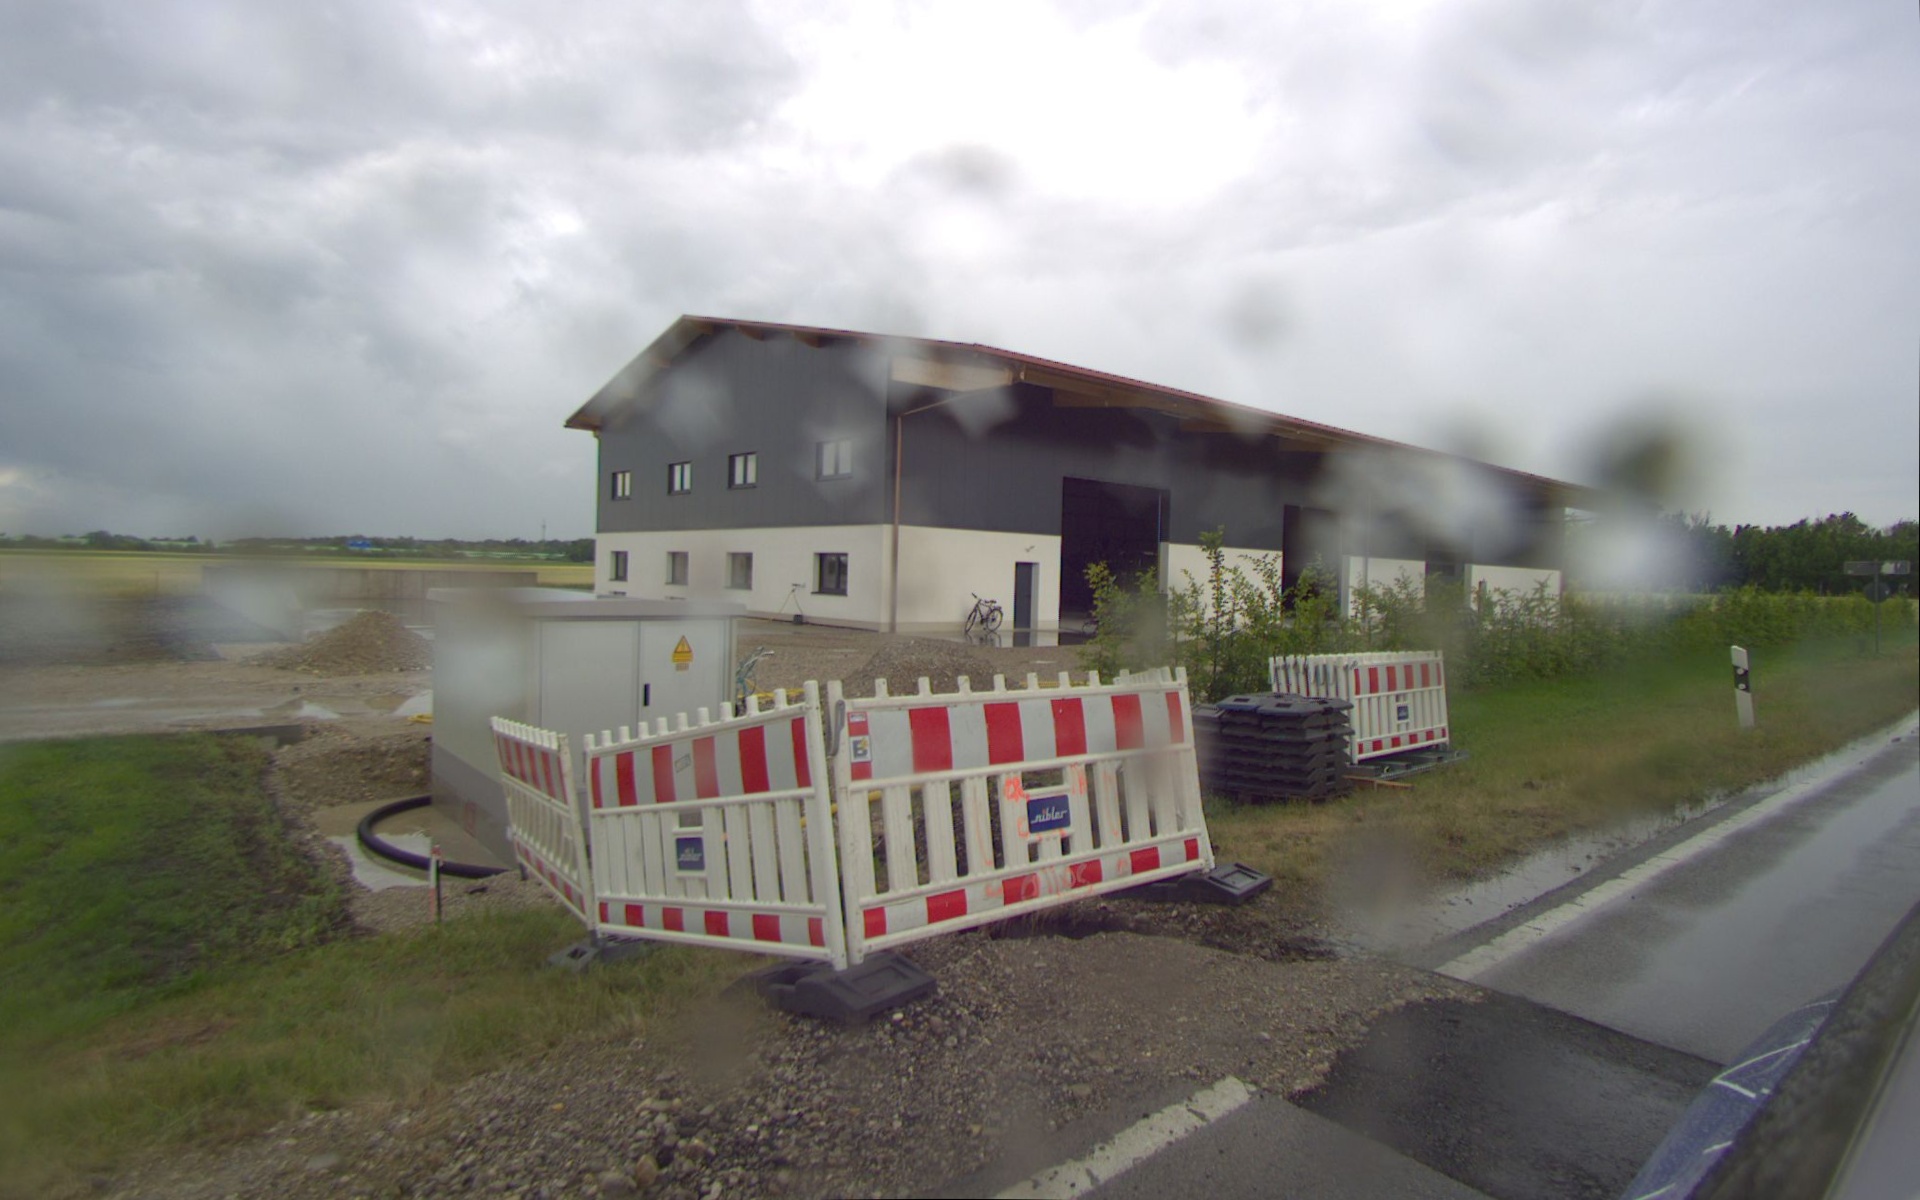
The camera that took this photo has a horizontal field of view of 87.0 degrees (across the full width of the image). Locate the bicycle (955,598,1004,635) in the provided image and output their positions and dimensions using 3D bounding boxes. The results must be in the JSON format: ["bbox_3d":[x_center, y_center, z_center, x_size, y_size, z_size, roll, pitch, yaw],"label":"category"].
[{"bbox_3d":[0.603,0.482,30.748,1.631,1.085,0.391,0,2,-41],"label":"bicycle"}]

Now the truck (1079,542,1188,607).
[{"bbox_3d":[8.663,-1.257,50.313,5.250,3.050,2.495,0,2,-41],"label":"truck"}]
